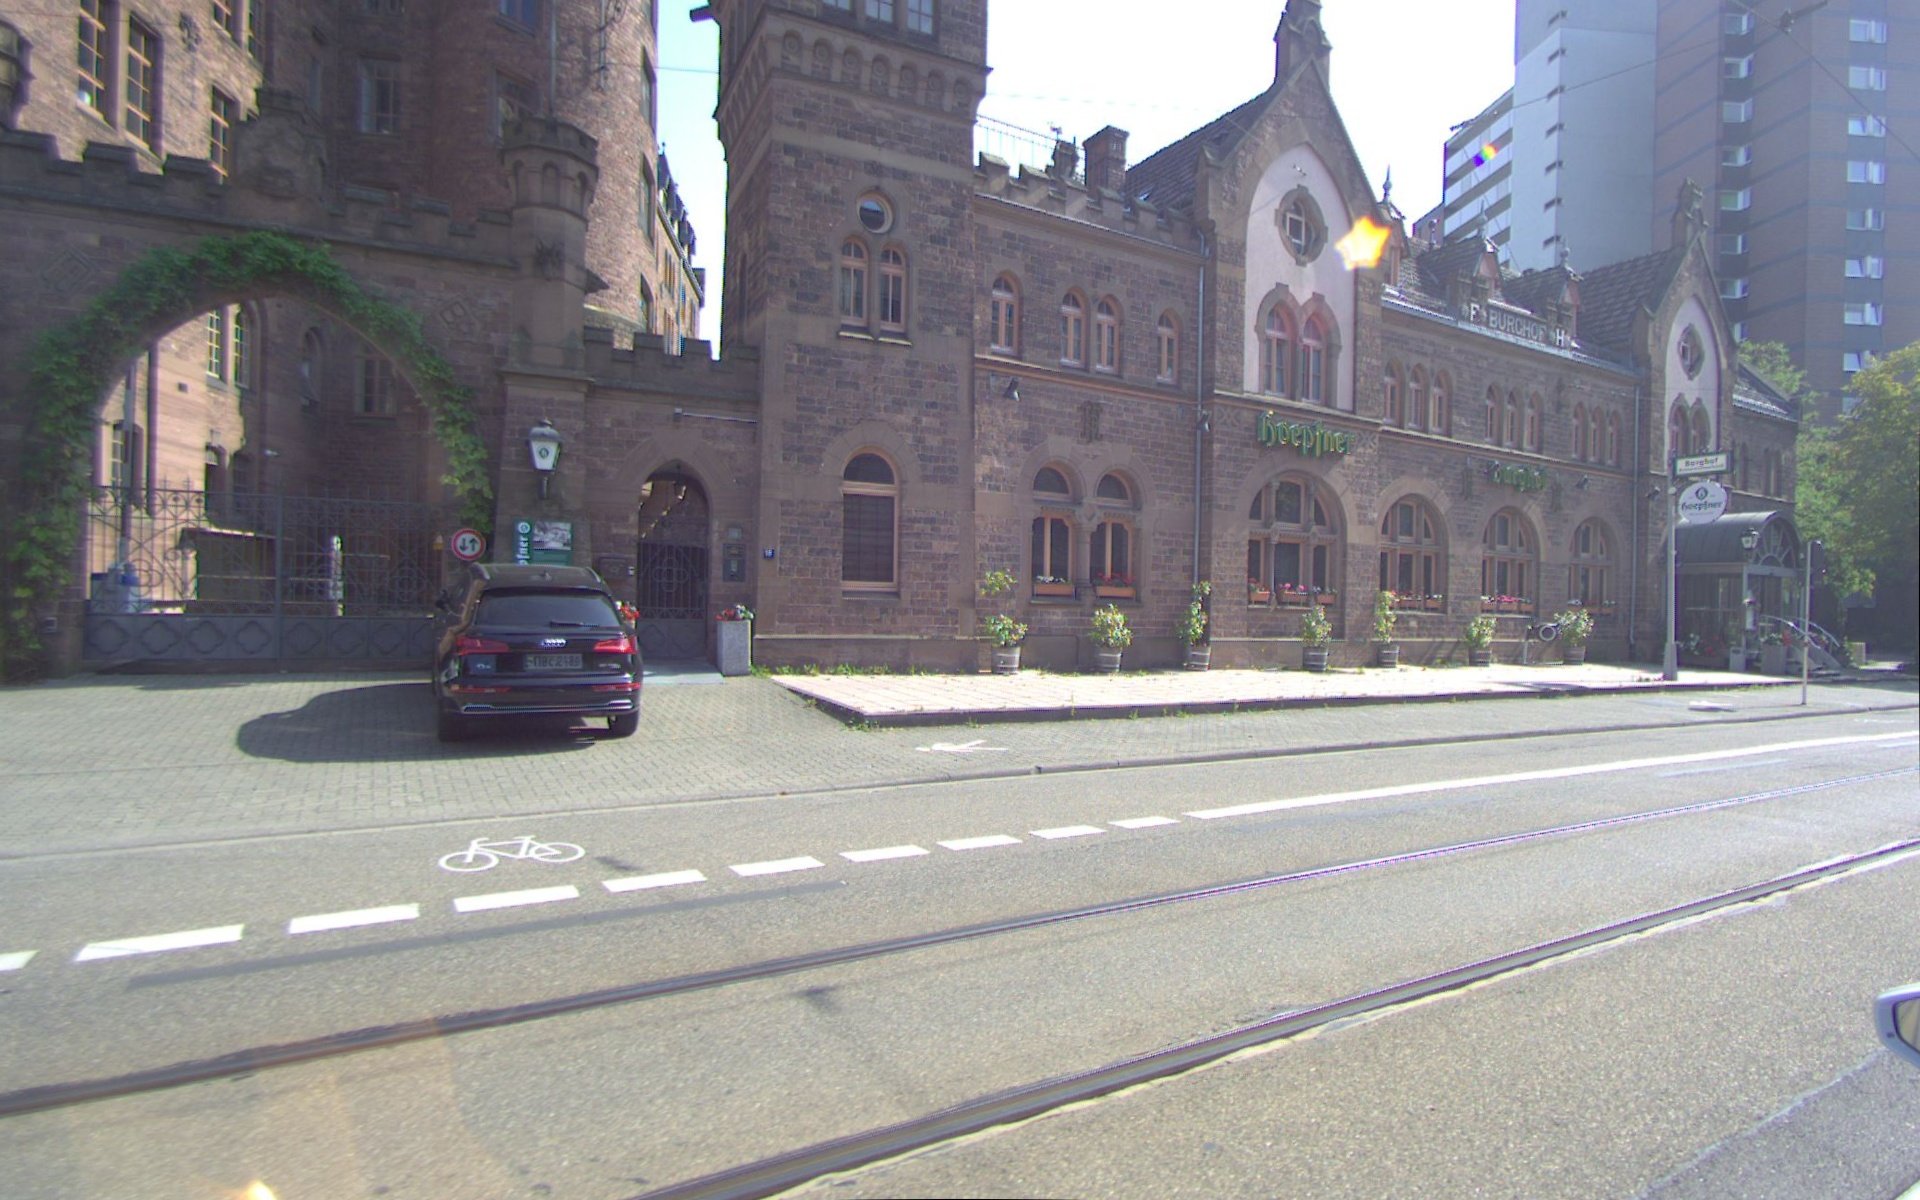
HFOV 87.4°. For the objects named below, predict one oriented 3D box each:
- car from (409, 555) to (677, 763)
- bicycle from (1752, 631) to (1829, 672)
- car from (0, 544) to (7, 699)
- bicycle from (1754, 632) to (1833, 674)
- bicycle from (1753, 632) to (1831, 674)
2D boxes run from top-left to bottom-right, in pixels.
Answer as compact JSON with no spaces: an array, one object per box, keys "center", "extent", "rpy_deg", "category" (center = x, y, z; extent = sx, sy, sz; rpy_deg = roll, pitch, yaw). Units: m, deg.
[{"center":[-4.759,0.452,11.029],"extent":[1.936,1.668,4.370],"rpy_deg":[2,3,-33],"category":"car"},{"center":[26.369,1.621,31.911],"extent":[1.780,1.088,0.419],"rpy_deg":[7,3,38],"category":"bicycle"},{"center":[-9.997,0.328,8.502],"extent":[1.800,1.617,3.883],"rpy_deg":[1,3,-28],"category":"car"},{"center":[25.823,1.639,31.153],"extent":[1.780,1.088,0.419],"rpy_deg":[7,3,38],"category":"bicycle"},{"center":[26.087,1.651,31.541],"extent":[1.780,1.088,0.419],"rpy_deg":[7,3,38],"category":"bicycle"}]
